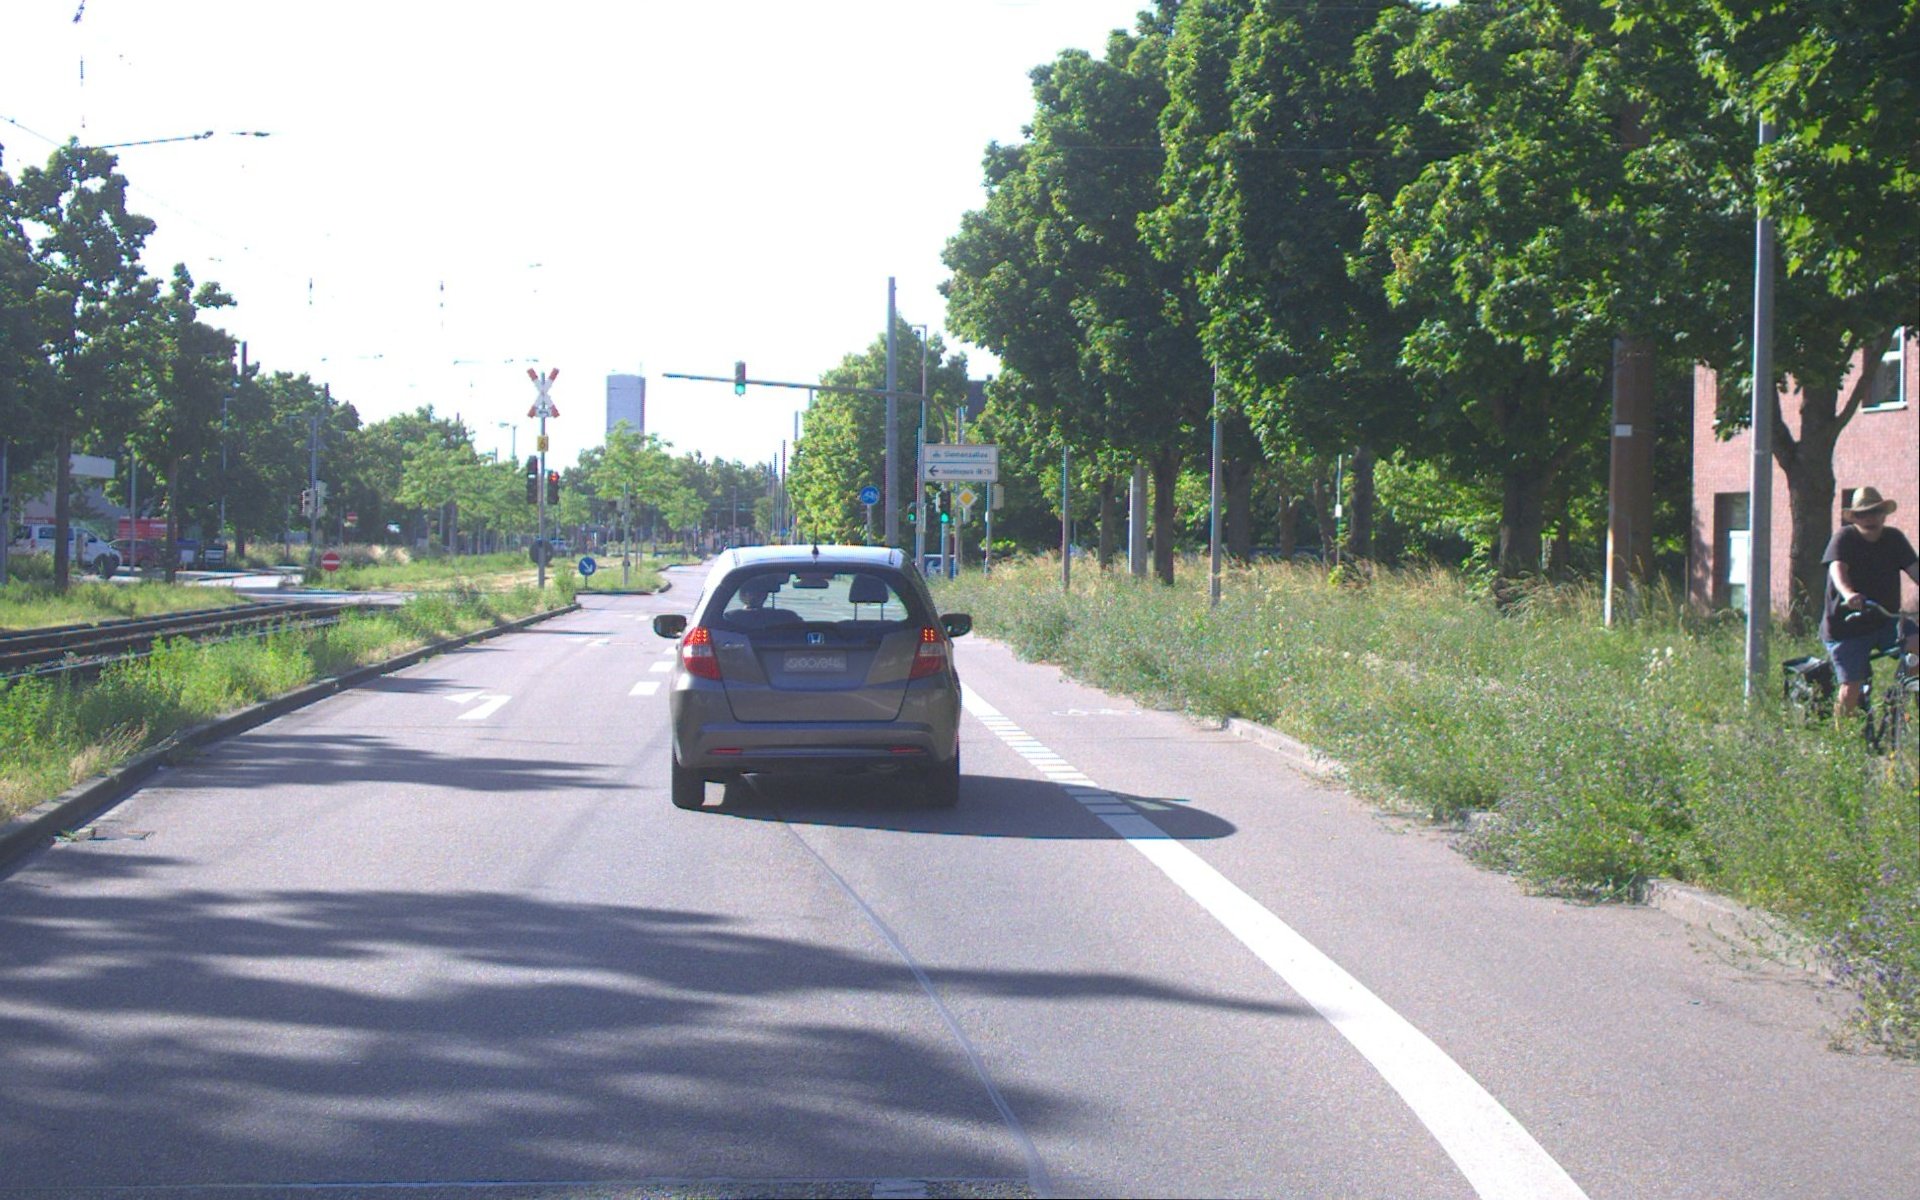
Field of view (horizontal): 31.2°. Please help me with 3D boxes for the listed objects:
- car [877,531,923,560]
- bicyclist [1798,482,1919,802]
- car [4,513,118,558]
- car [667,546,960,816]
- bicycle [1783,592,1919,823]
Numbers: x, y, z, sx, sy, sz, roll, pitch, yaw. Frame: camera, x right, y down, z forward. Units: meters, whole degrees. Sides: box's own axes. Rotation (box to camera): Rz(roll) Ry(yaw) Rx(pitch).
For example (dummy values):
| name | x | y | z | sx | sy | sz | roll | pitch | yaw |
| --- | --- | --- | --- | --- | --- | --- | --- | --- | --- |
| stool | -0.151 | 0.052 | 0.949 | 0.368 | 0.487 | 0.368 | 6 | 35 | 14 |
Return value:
| name | x | y | z | sx | sy | sz | roll | pitch | yaw |
| --- | --- | --- | --- | --- | --- | --- | --- | --- | --- |
| car | -2.874 | -2.604 | 164.693 | 1.773 | 1.382 | 3.871 | 0 | 1 | -8 |
| bicyclist | 5.084 | 0.228 | 18.928 | 0.683 | 1.714 | 0.902 | 1 | 0 | -1 |
| car | -39.933 | -2.846 | 152.743 | 1.858 | 1.967 | 4.776 | 2 | 2 | 36 |
| car | -0.899 | 0.423 | 20.854 | 1.624 | 1.494 | 3.457 | 0 | 1 | -3 |
| bicycle | 5.066 | 0.577 | 19.003 | 0.483 | 1.200 | 2.143 | 1 | -1 | -1 |
